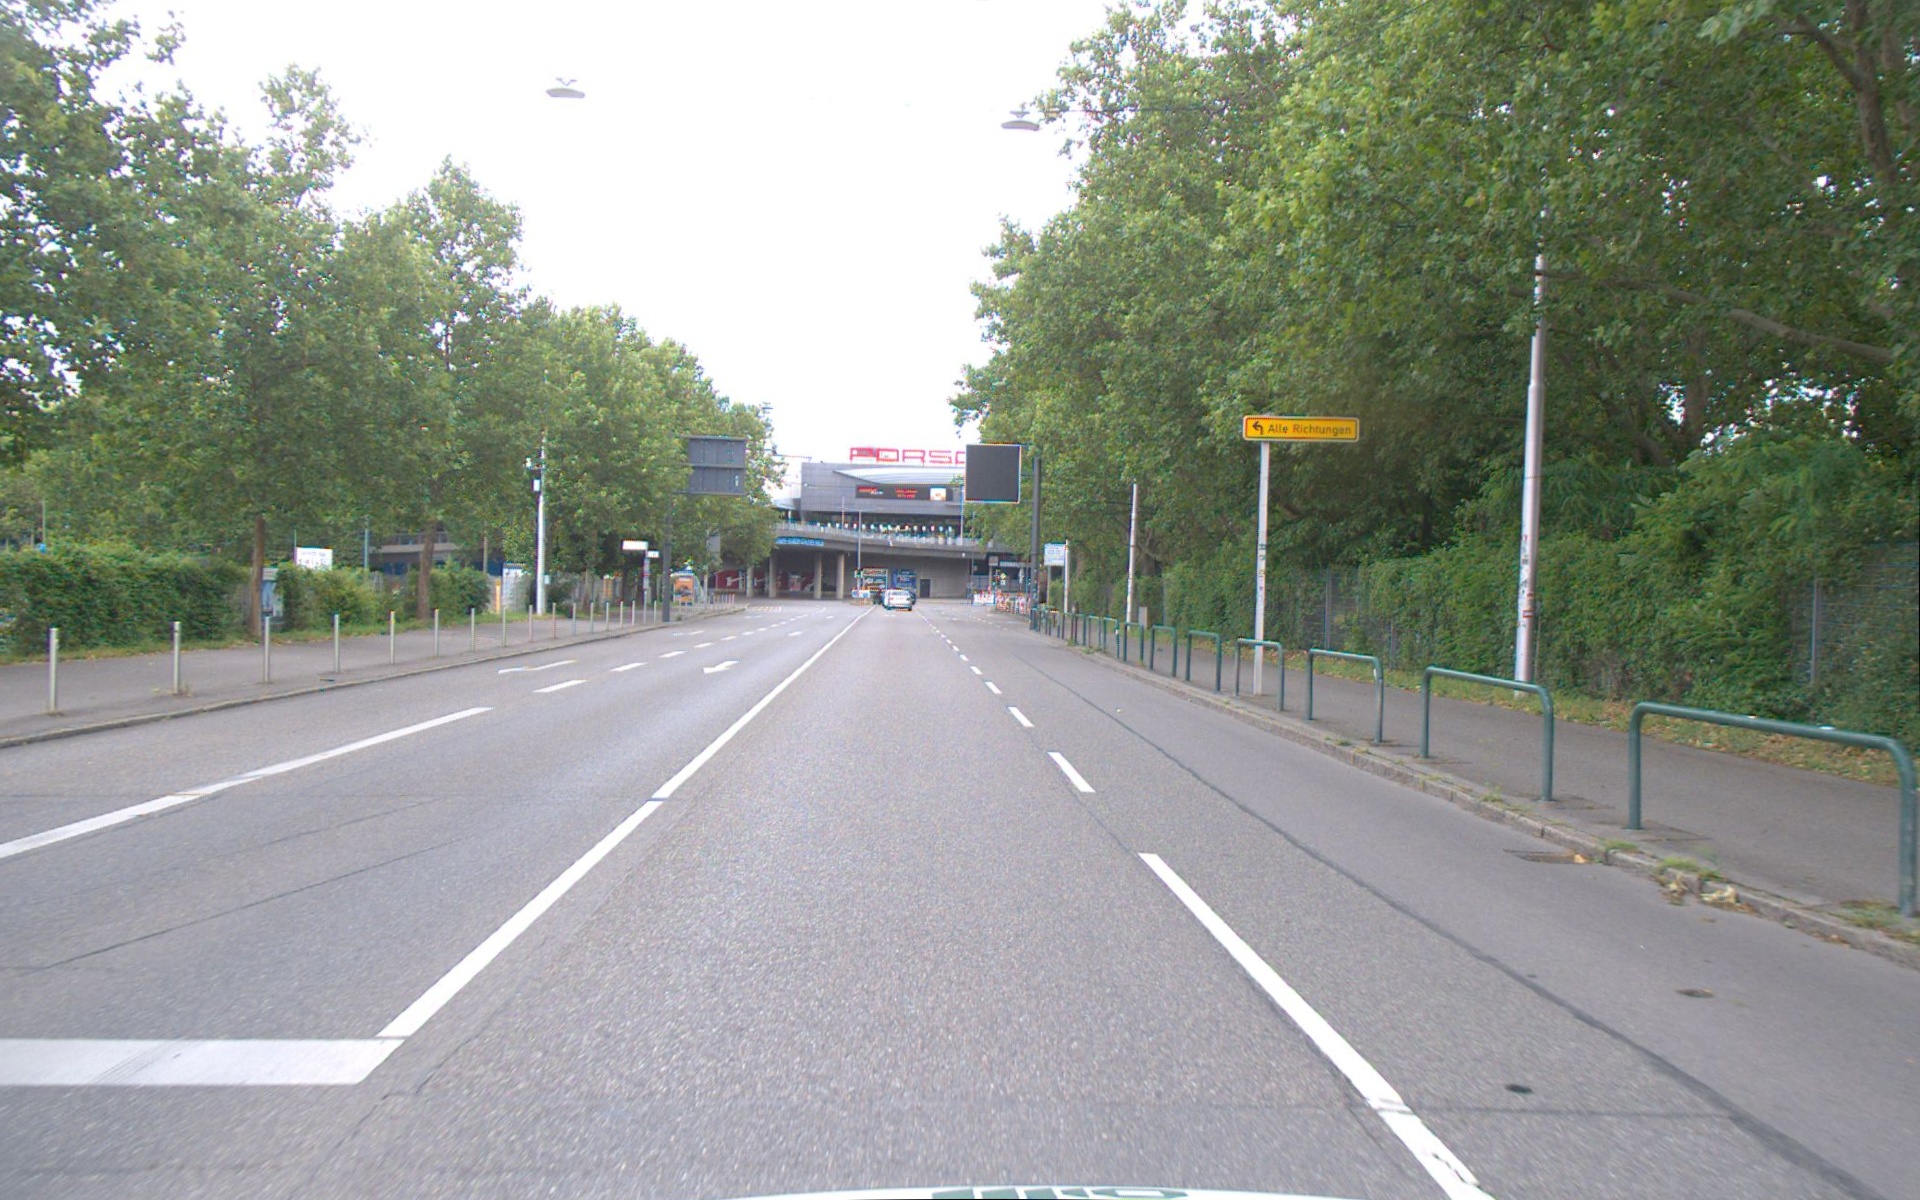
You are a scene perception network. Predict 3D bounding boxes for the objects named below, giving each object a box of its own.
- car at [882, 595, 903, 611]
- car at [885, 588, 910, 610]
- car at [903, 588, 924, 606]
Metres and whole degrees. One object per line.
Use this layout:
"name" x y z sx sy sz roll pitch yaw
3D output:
"car" -5.450 0.224 133.378 1.384 1.132 3.034 3 0 -6
"car" -4.576 -0.094 121.800 1.742 1.485 3.821 3 0 -1
"car" -4.646 -0.321 165.290 1.967 1.728 4.068 2 0 -1
